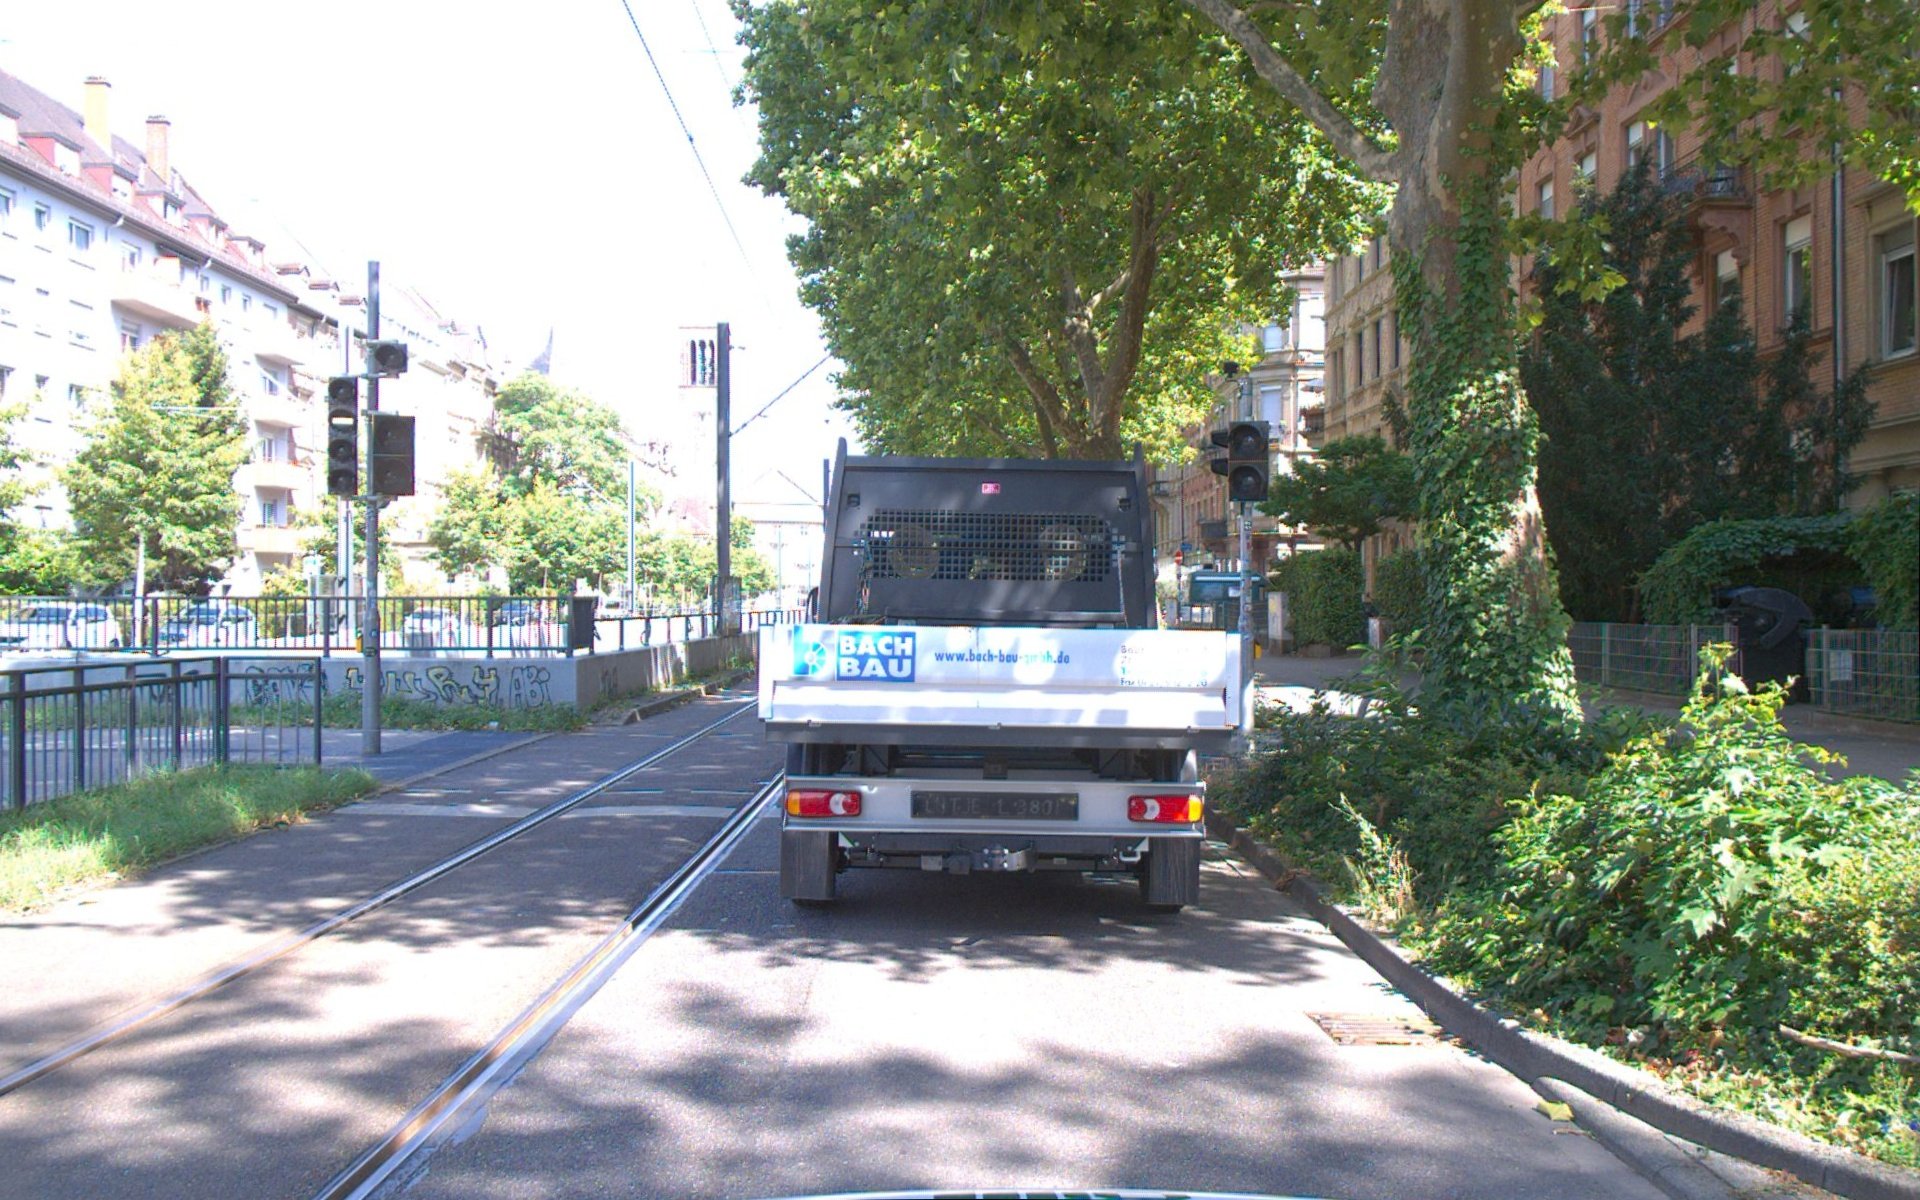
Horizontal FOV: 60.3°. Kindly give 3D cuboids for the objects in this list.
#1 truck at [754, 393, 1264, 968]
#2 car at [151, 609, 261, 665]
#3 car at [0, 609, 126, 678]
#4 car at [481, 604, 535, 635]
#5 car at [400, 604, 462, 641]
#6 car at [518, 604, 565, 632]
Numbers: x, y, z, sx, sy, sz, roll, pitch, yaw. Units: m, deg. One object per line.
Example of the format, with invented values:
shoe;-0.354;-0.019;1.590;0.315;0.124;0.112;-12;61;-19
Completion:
truck;0.211;0.337;9.040;2.094;2.359;4.401;0;0;0
car;-22.079;1.046;48.588;1.737;1.524;3.994;-2;0;-6
car;-21.902;1.020;40.011;1.737;1.524;3.994;-2;0;-6
car;-22.822;0.960;83.581;1.735;1.524;3.998;0;0;-2
car;-22.333;0.920;69.994;1.736;1.524;3.994;0;0;-6
car;-23.099;0.981;91.414;1.735;1.524;3.998;0;0;-2
